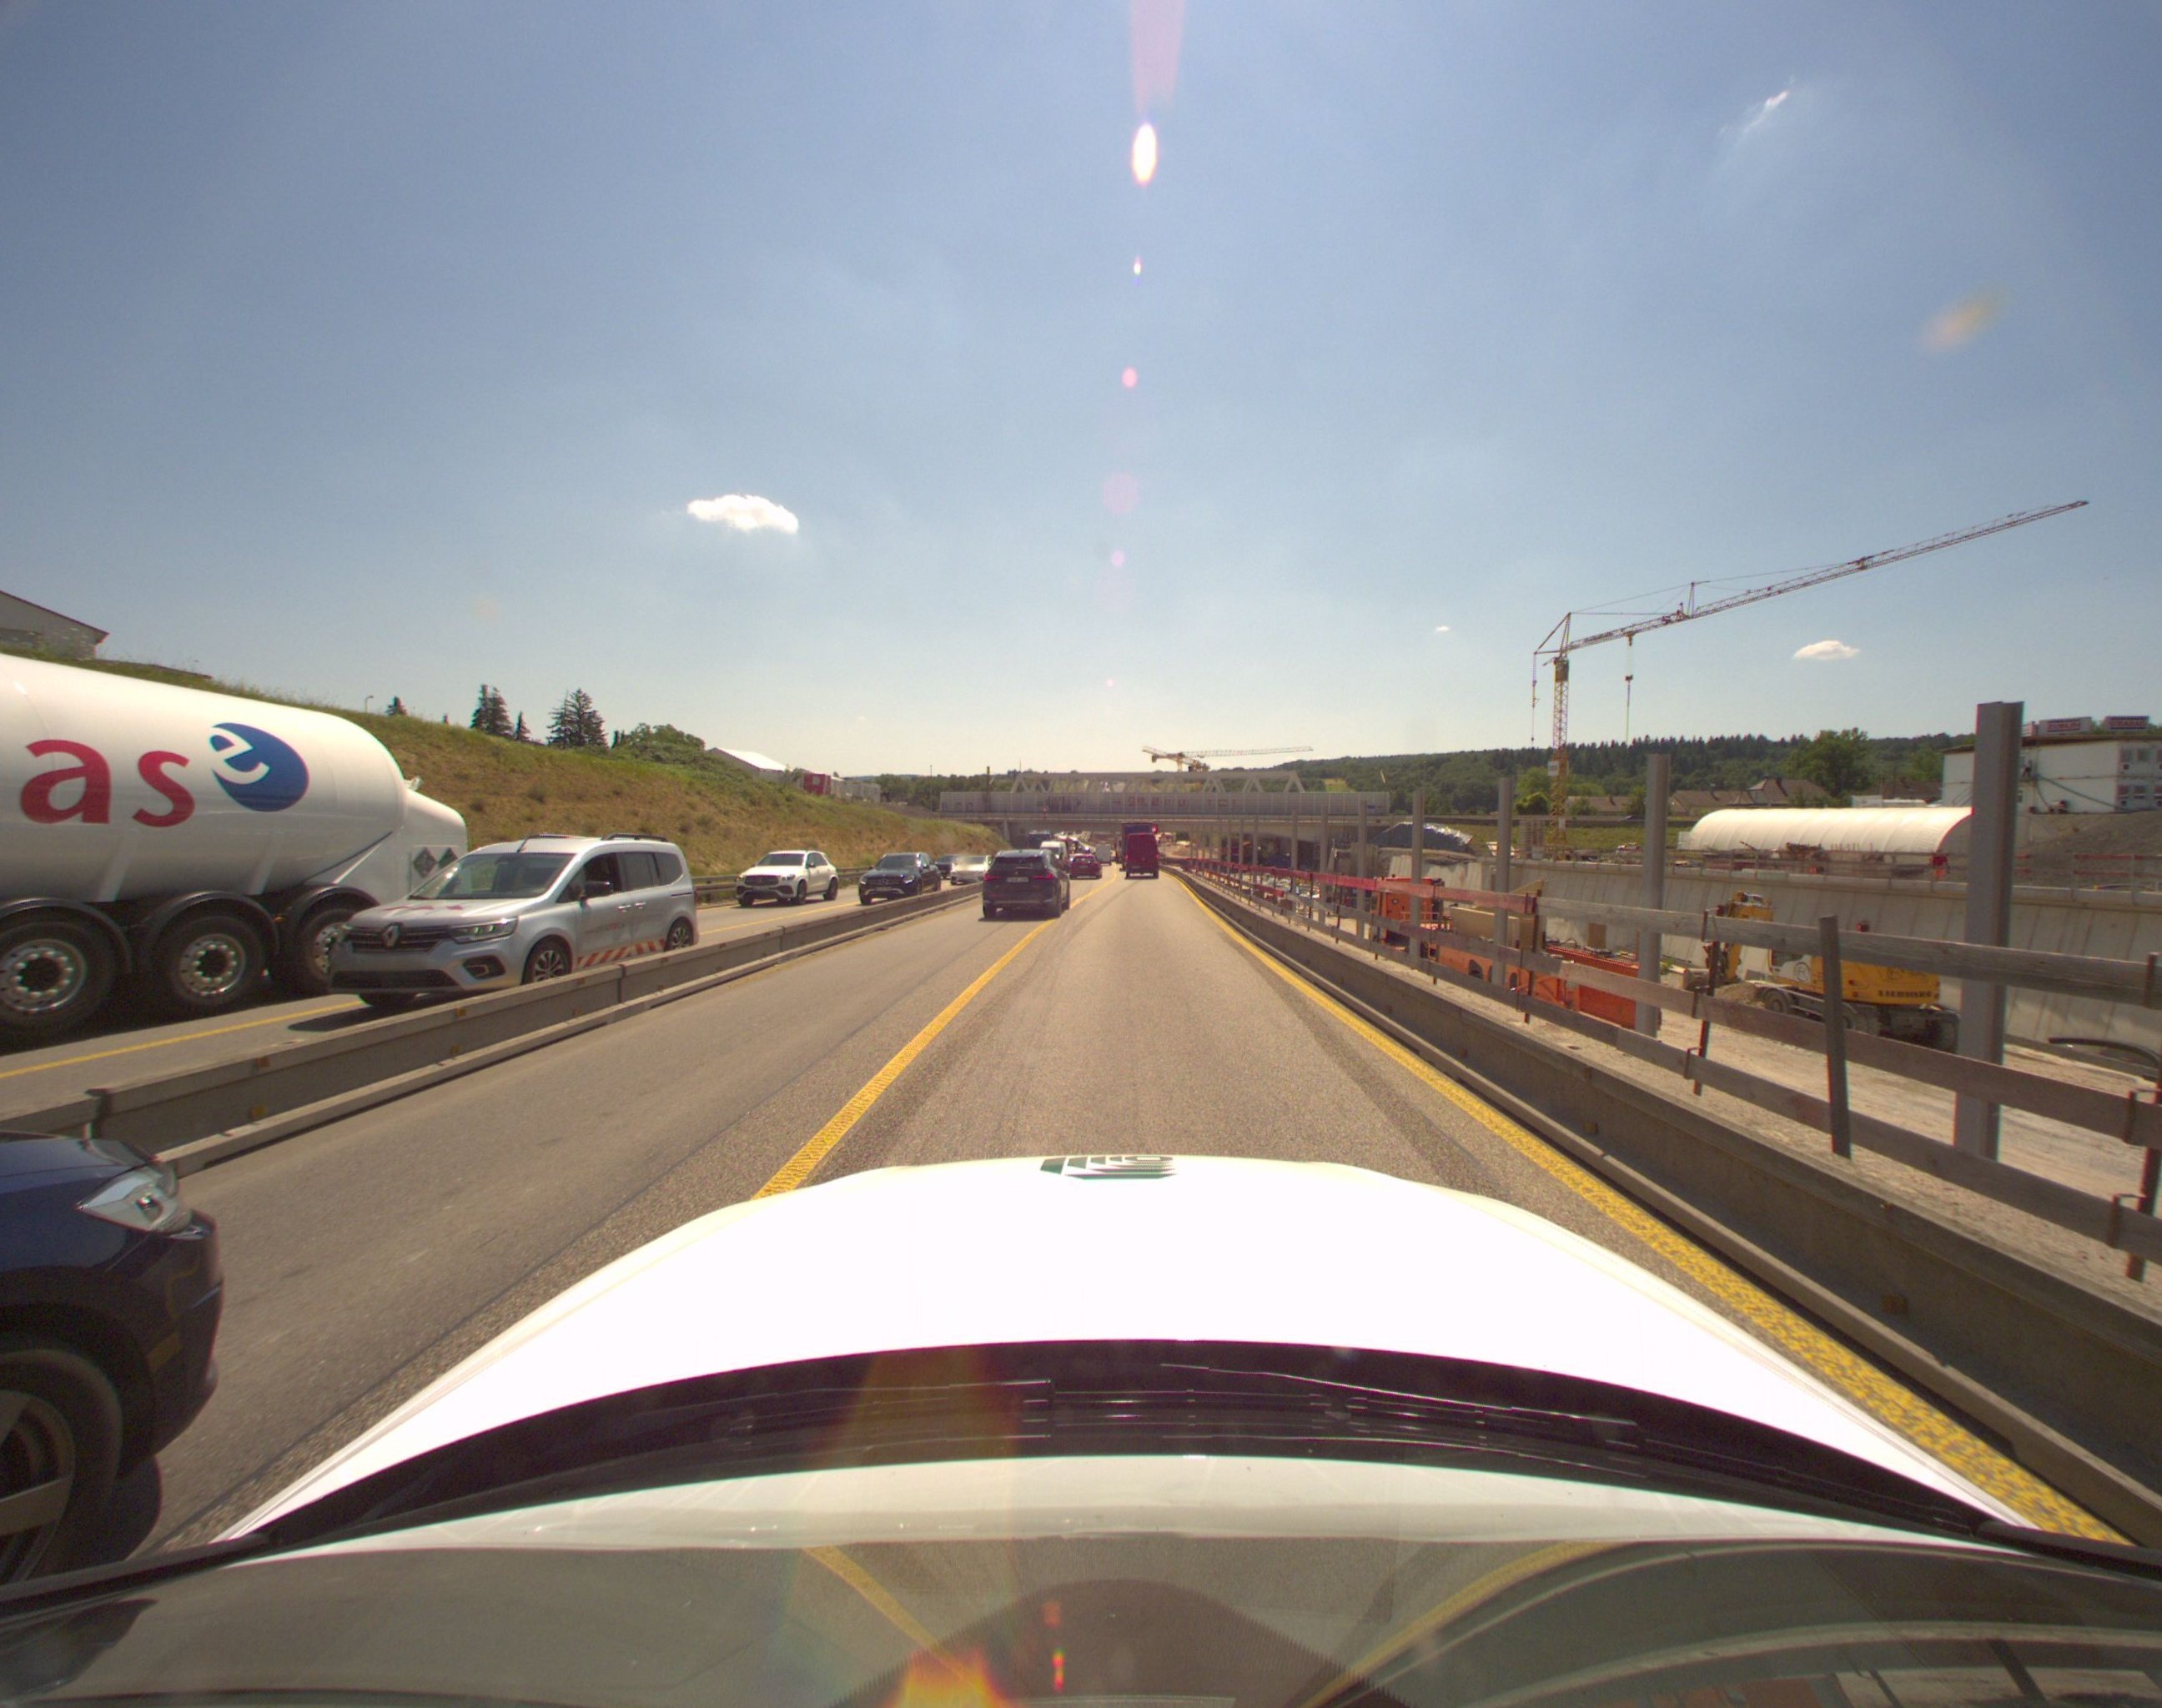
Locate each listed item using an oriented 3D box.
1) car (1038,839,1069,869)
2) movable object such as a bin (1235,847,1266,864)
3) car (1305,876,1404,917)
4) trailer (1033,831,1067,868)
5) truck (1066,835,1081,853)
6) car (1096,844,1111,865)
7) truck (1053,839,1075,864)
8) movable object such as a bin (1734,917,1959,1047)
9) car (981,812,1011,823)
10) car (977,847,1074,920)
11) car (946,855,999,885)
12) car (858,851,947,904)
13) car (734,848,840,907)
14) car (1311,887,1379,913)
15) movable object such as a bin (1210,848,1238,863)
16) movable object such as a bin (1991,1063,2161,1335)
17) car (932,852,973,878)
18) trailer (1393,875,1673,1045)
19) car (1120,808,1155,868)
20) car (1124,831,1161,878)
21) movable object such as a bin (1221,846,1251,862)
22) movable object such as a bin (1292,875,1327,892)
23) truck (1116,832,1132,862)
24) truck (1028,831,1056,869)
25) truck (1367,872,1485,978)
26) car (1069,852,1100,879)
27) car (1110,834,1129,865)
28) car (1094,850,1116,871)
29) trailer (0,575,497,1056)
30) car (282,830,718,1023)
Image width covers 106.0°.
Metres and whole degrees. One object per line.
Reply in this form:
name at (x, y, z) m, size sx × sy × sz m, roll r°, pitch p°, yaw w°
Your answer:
car at (-2.444, -0.023, 73.156) m, size 1.984 × 2.606 × 7.019 m, roll 0°, pitch 0°, yaw 4°
movable object such as a bin at (29.176, 0.277, 140.307) m, size 5.119 × 2.807 × 2.147 m, roll 0°, pitch 0°, yaw 7°
car at (19.193, 2.970, 57.254) m, size 6.085 × 2.584 × 2.523 m, roll 1°, pitch 2°, yaw -8°
trailer at (-3.465, -0.531, 94.067) m, size 2.335 × 4.015 × 11.470 m, roll 0°, pitch 0°, yaw 6°
truck at (-1.566, -2.127, 181.580) m, size 2.824 × 3.852 × 12.917 m, roll 0°, pitch 0°, yaw 2°
car at (2.723, 0.049, 98.238) m, size 1.769 × 2.441 × 4.207 m, roll -1°, pitch 0°, yaw 1°
truck at (-2.723, -0.479, 131.409) m, size 2.824 × 3.852 × 12.918 m, roll 0°, pitch 0°, yaw 2°
movable object such as a bin at (22.366, 3.602, 24.153) m, size 2.270 × 3.024 × 4.825 m, roll 1°, pitch 0°, yaw 3°
car at (-14.074, -6.067, 135.190) m, size 4.520 × 1.783 × 1.968 m, roll 0°, pitch 0°, yaw 14°
car at (-1.278, 0.648, 20.761) m, size 1.871 × 1.618 × 4.503 m, roll -1°, pitch 0°, yaw 3°
car at (-5.619, 0.795, 42.879) m, size 1.954 × 1.464 × 4.943 m, roll 0°, pitch 0°, yaw 2°
car at (-5.889, 0.705, 27.423) m, size 1.784 × 1.611 × 4.736 m, roll 0°, pitch 0°, yaw 2°
car at (-9.668, 0.716, 27.187) m, size 1.785 × 1.762 × 4.538 m, roll -1°, pitch 0°, yaw 0°
car at (20.586, 3.597, 63.721) m, size 4.708 × 1.773 × 2.002 m, roll 1°, pitch 2°, yaw 2°
movable object such as a bin at (26.664, 0.252, 152.001) m, size 5.119 × 2.807 × 2.147 m, roll 0°, pitch 0°, yaw 7°
movable object such as a bin at (12.516, 3.905, 7.880) m, size 2.159 × 2.431 × 4.824 m, roll 1°, pitch 0°, yaw 3°
car at (-7.996, 0.669, 51.028) m, size 1.686 × 1.531 × 4.004 m, roll 0°, pitch 0°, yaw 3°
trailer at (13.986, 2.858, 27.255) m, size 2.747 × 3.886 × 13.059 m, roll 0°, pitch 0°, yaw 3°
car at (4.990, -1.397, 73.598) m, size 2.611 × 5.032 × 10.399 m, roll -1°, pitch 0°, yaw 1°
car at (3.679, 0.032, 49.572) m, size 1.981 × 2.690 × 4.625 m, roll -1°, pitch 0°, yaw 1°
movable object such as a bin at (28.024, 0.061, 147.130) m, size 5.119 × 2.807 × 2.147 m, roll 0°, pitch 0°, yaw 7°
movable object such as a bin at (22.755, 2.912, 81.132) m, size 3.067 × 1.563 × 1.563 m, roll 0°, pitch 0°, yaw 37°
truck at (8.009, -1.240, 153.149) m, size 2.823 × 5.398 × 12.920 m, roll 0°, pitch 0°, yaw 3°
truck at (-4.164, -0.465, 87.785) m, size 2.346 × 4.015 × 4.007 m, roll 0°, pitch 0°, yaw 6°
truck at (14.313, 2.803, 34.320) m, size 2.747 × 3.886 × 5.886 m, roll 0°, pitch 0°, yaw 3°
car at (0.229, 0.641, 48.655) m, size 1.770 × 1.517 × 4.206 m, roll -1°, pitch 0°, yaw 0°
car at (5.361, -0.679, 113.338) m, size 2.441 × 4.161 × 6.862 m, roll -1°, pitch 0°, yaw 1°
car at (2.057, 0.521, 70.819) m, size 1.833 × 1.654 × 4.165 m, roll -1°, pitch 1°, yaw 1°
trailer at (-9.842, -0.293, 5.745) m, size 2.581 × 3.801 × 11.921 m, roll 0°, pitch 0°, yaw 1°
car at (-6.389, 0.658, 9.794) m, size 1.872 × 1.745 × 4.485 m, roll -1°, pitch 0°, yaw 2°
